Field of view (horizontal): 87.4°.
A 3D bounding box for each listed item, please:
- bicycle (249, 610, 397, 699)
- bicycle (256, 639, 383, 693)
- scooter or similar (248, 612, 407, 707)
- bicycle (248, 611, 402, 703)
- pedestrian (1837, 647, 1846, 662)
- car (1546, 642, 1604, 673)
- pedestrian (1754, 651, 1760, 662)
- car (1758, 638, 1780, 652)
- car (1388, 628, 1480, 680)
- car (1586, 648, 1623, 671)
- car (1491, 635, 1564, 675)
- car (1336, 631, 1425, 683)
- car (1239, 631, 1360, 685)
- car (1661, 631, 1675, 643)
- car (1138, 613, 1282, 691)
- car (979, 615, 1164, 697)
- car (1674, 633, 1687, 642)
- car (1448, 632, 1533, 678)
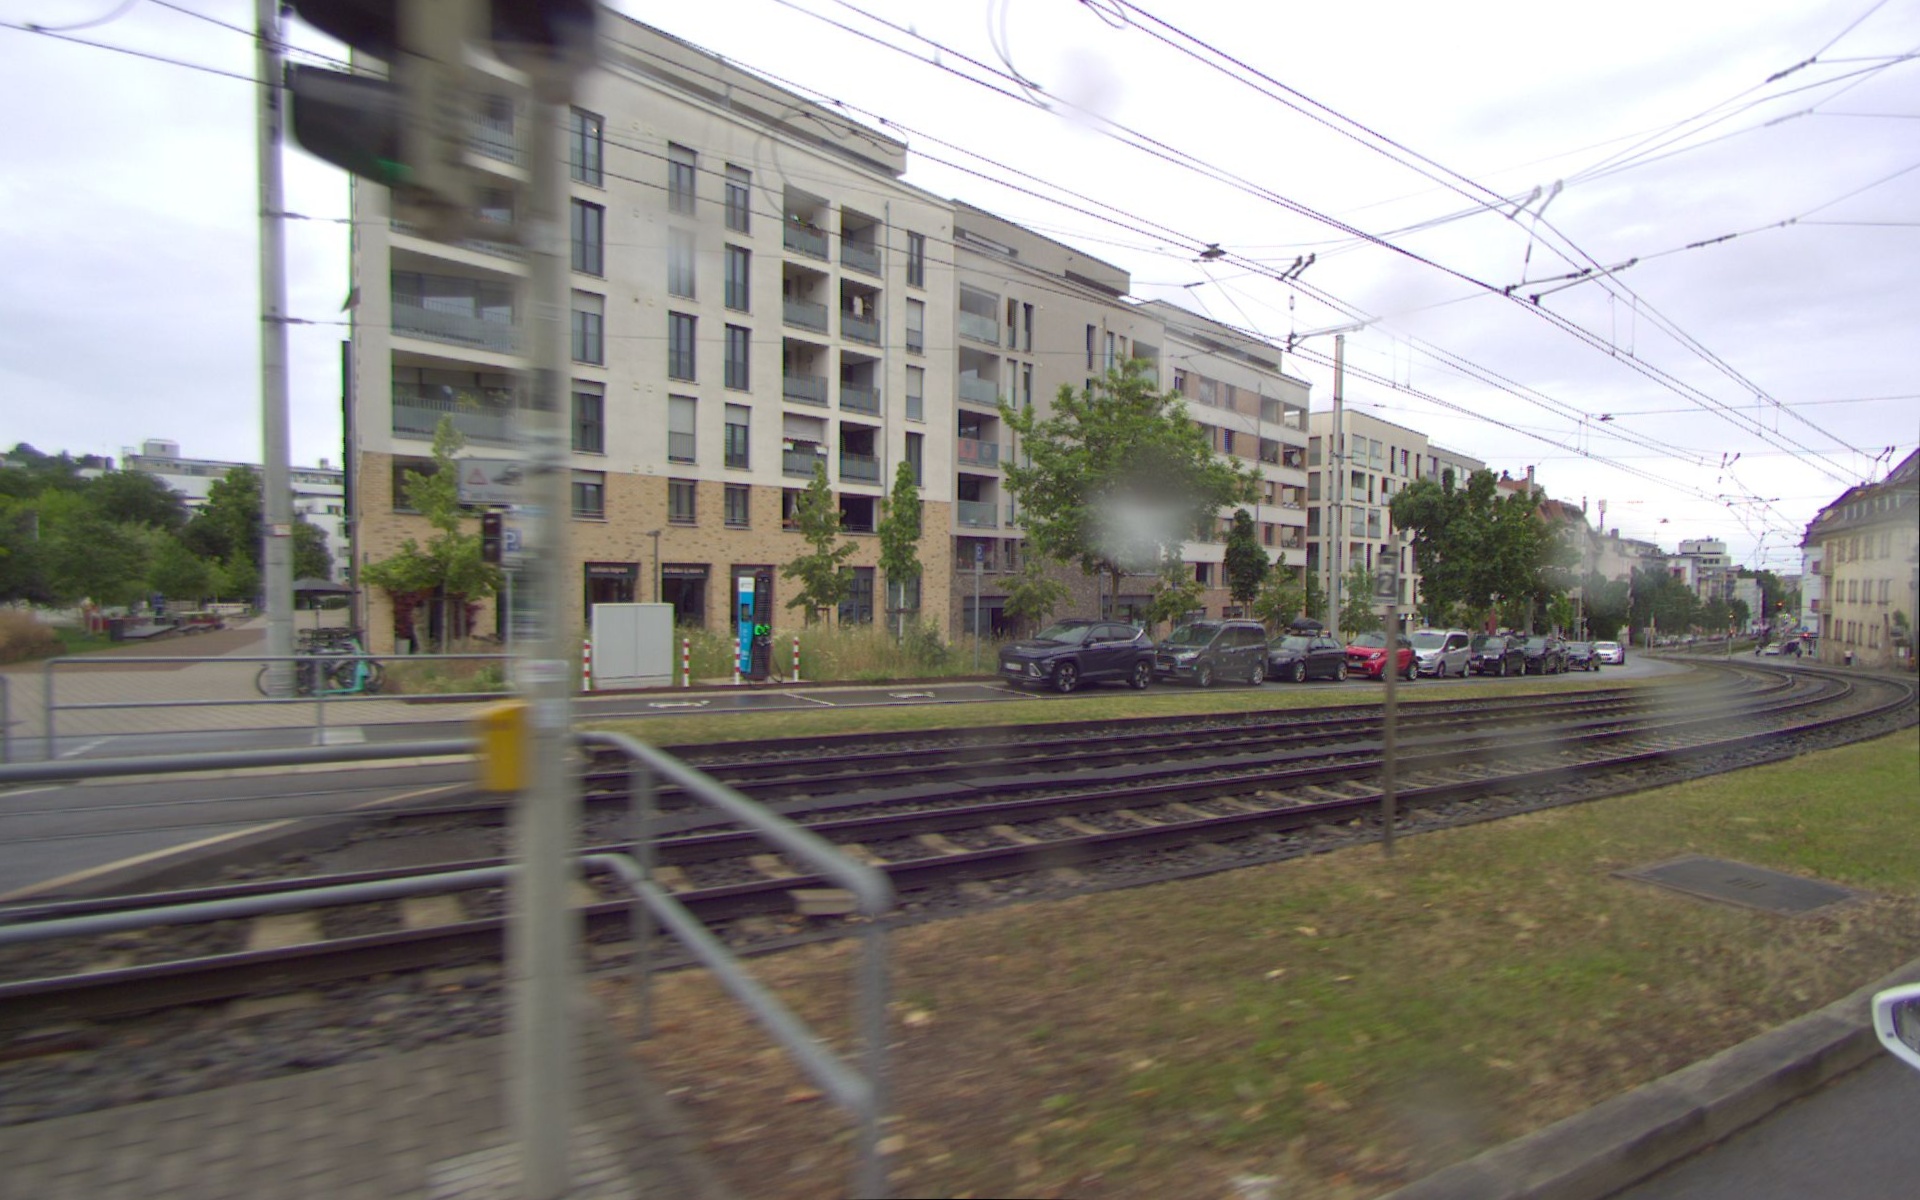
[{"bbox_3d":[-12.237,1.044,19.365,2.338,1.617,0.671,2,-1,-35],"label":"bicycle"},{"bbox_3d":[-13.394,1.369,21.078,2.205,1.061,0.472,2,-1,-32],"label":"bicycle"},{"bbox_3d":[-11.276,1.048,17.979,2.338,1.617,0.595,2,-1,-35],"label":"scooter or similar"},{"bbox_3d":[-11.725,1.047,18.616,2.338,1.617,0.671,2,-1,-35],"label":"bicycle"},{"bbox_3d":[79.647,4.922,90.770,0.497,1.333,0.510,1,-1,32],"label":"pedestrian"},{"bbox_3d":[32.383,3.022,52.820,1.943,1.450,4.179,2,-1,40],"label":"car"},{"bbox_3d":[94.224,6.680,118.783,0.502,1.333,0.504,1,-1,34],"label":"pedestrian"},{"bbox_3d":[106.385,5.938,132.059,1.971,1.795,3.978,1,-1,42],"label":"car"},{"bbox_3d":[17.454,1.965,36.893,4.229,1.771,1.646,3,-1,-44],"label":"car"},{"bbox_3d":[43.939,4.051,68.461,1.744,1.498,3.718,0,-2,39],"label":"car"},{"bbox_3d":[25.306,2.421,44.704,1.783,1.604,4.672,2,-1,43],"label":"car"},{"bbox_3d":[14.015,1.884,33.464,2.905,1.551,1.458,3,1,-38],"label":"car"},{"bbox_3d":[10.470,1.761,30.804,4.367,1.466,1.536,3,0,-42],"label":"car"},{"bbox_3d":[132.422,6.954,187.800,1.968,2.040,3.986,1,-1,36],"label":"car"},{"bbox_3d":[6.783,1.379,27.048,4.301,1.884,1.567,3,0,-42],"label":"car"},{"bbox_3d":[2.679,1.291,23.682,4.183,1.626,1.976,3,1,-41],"label":"car"},{"bbox_3d":[141.680,7.348,197.580,1.968,1.684,3.986,1,-1,36],"label":"car"},{"bbox_3d":[21.490,2.212,40.612,4.502,1.666,1.714,3,-1,-45],"label":"car"}]
